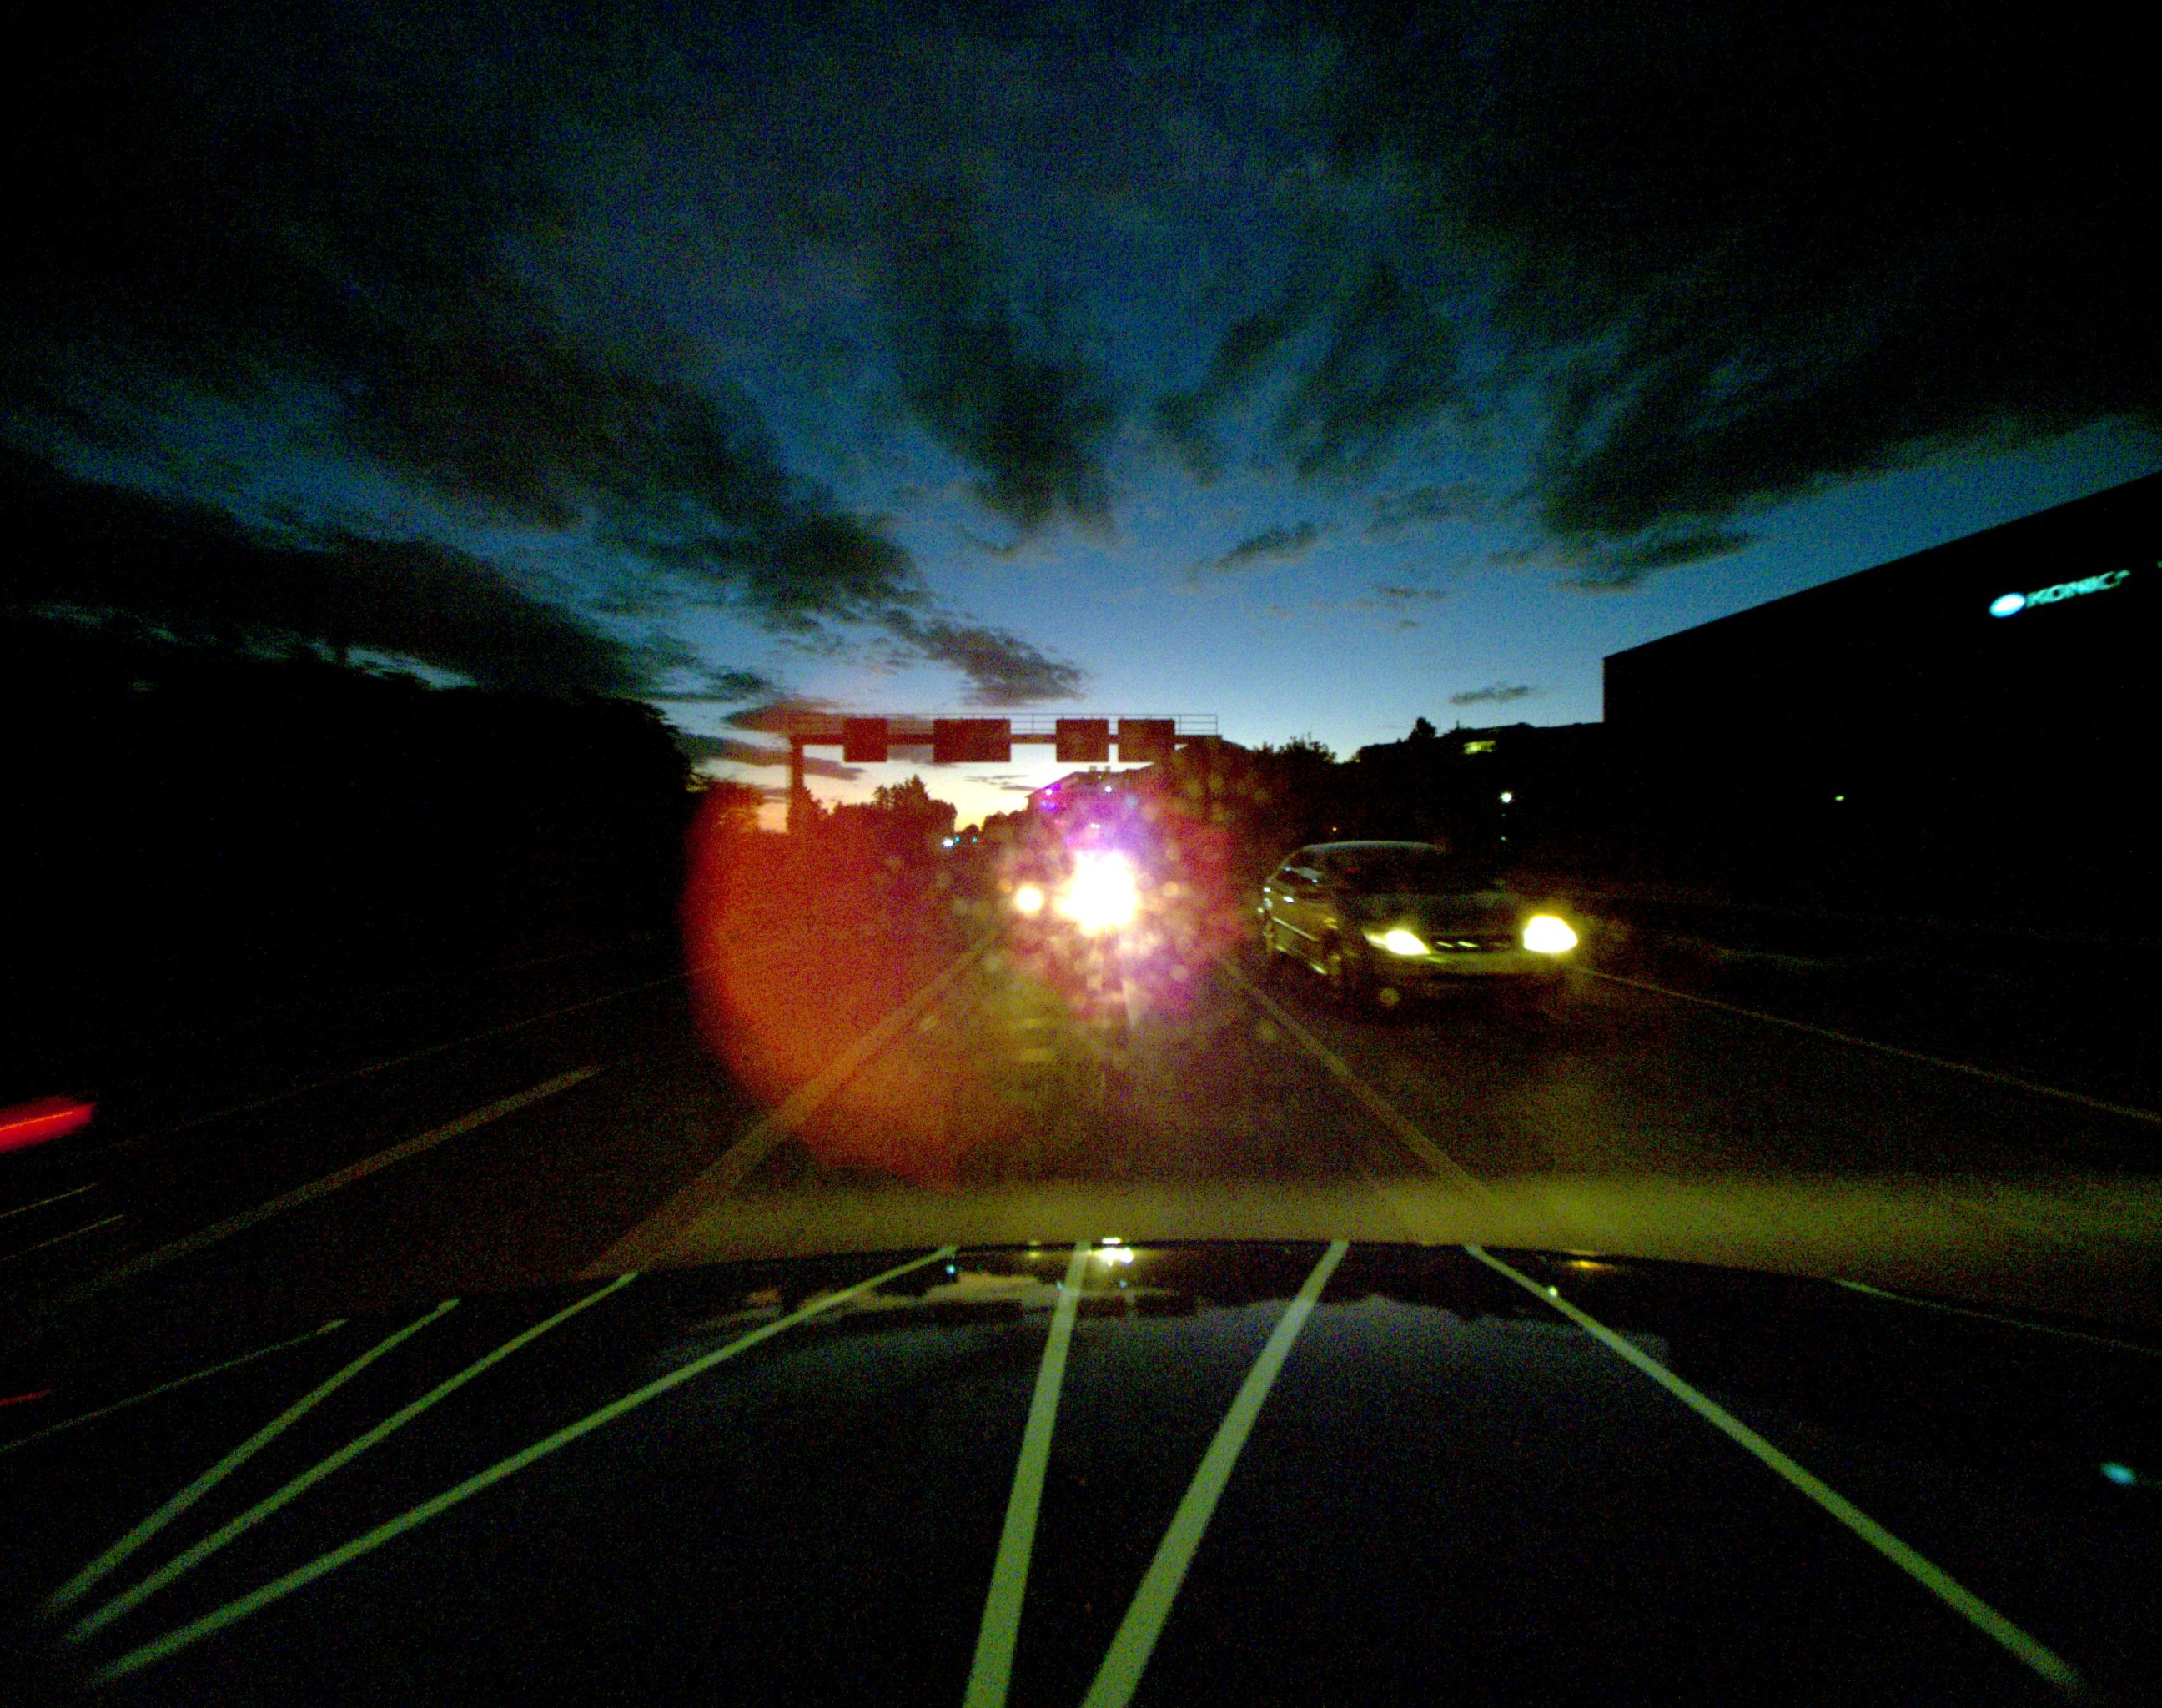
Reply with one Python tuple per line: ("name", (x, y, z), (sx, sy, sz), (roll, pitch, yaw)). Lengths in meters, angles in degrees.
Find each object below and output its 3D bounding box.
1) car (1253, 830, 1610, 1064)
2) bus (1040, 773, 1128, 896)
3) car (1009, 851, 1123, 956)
("car", (3.051, 0.640, 7.734), (1.670, 1.643, 4.410), (-3, 1, 2))
("bus", (-0.005, -0.736, 29.970), (2.614, 3.769, 12.271), (-3, 1, -1))
("car", (-0.151, 0.738, 13.341), (1.670, 1.472, 3.776), (-2, 1, 2))
